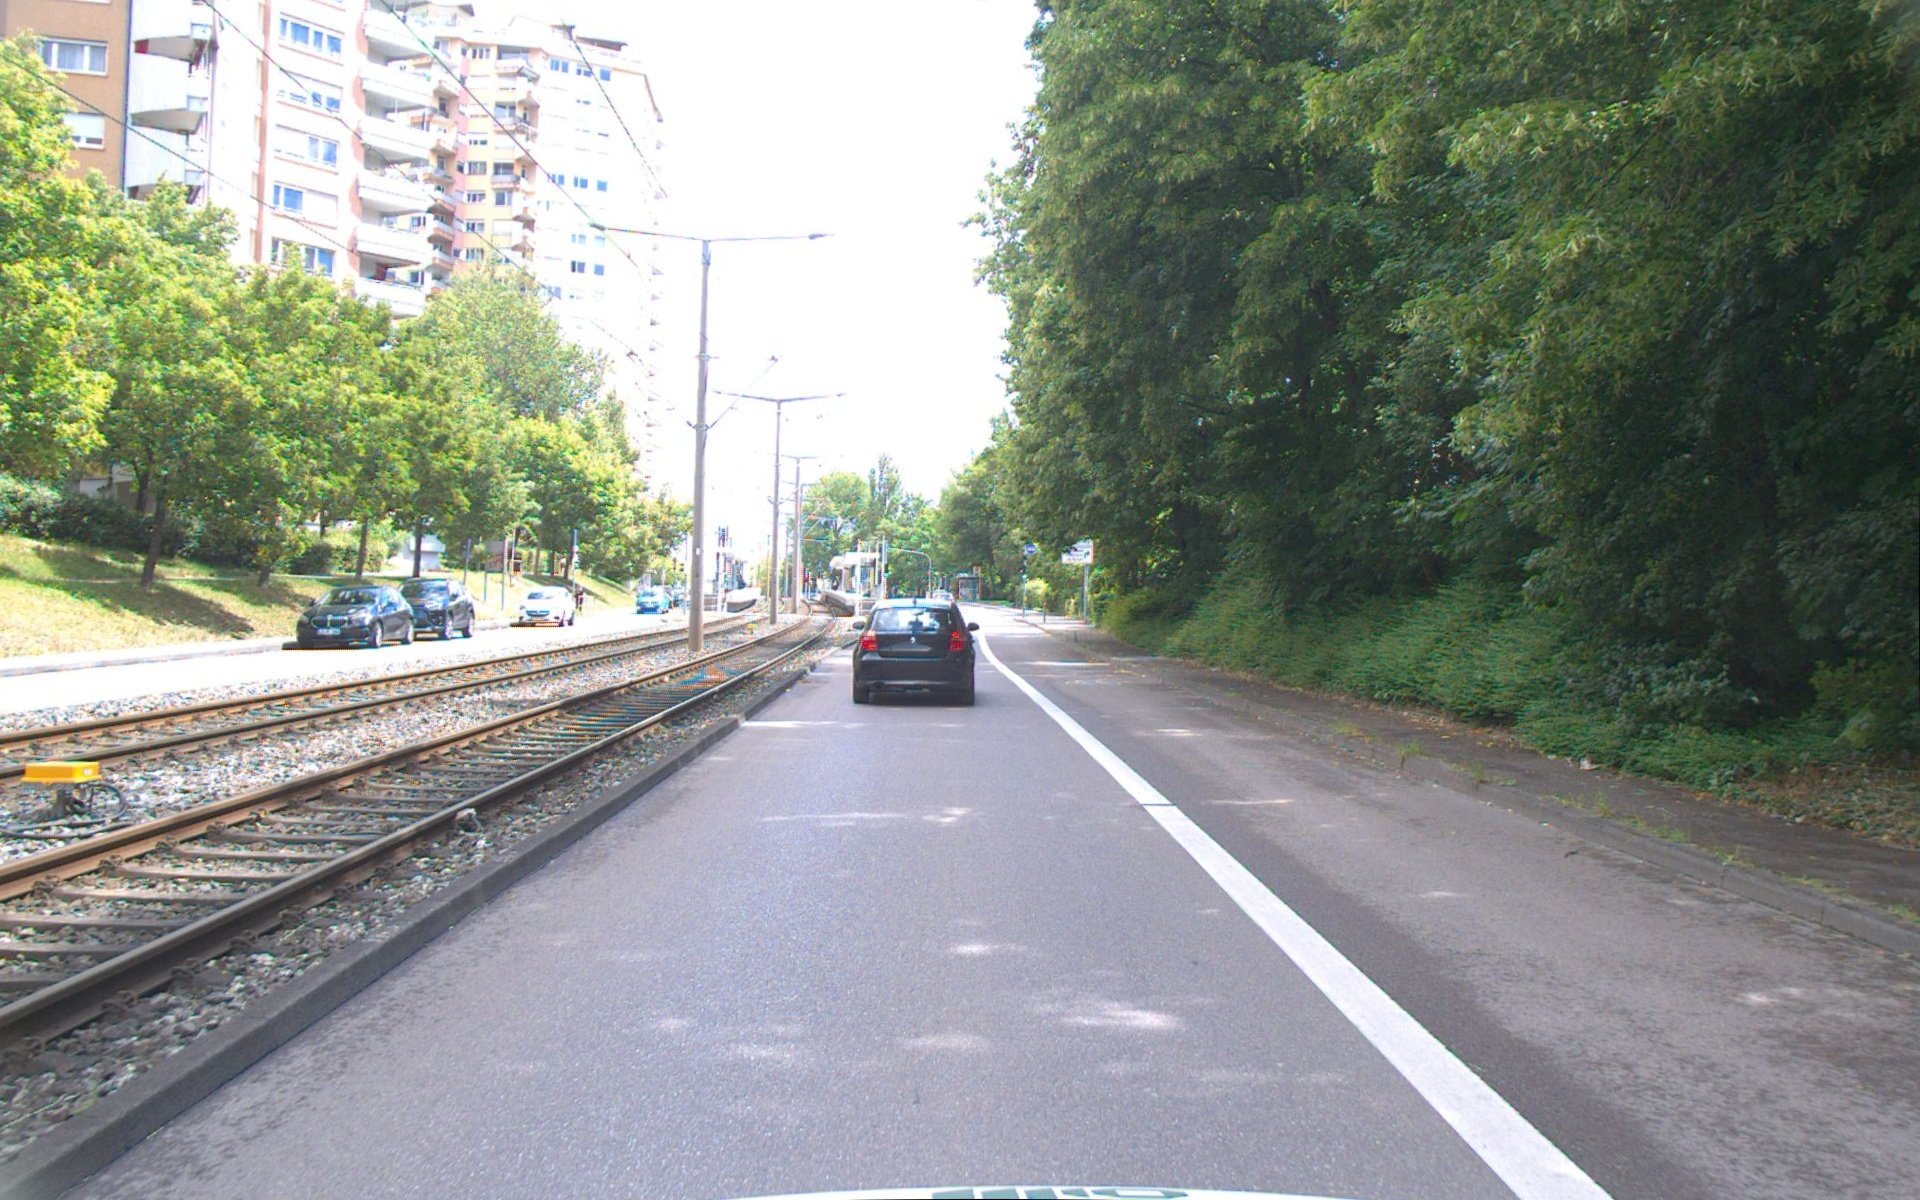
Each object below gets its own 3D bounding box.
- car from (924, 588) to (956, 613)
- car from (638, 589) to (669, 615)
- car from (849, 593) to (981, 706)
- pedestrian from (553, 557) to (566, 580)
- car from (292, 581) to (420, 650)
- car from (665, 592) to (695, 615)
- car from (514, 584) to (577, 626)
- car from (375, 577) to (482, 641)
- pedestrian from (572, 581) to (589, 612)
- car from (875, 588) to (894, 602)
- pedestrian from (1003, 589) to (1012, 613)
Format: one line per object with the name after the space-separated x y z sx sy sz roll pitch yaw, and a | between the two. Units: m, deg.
-1.231 0.024 101.568 1.746 1.485 3.918 1 0 -4 | car
-17.721 0.096 95.626 1.685 1.467 3.931 1 0 -12 | car
-0.676 0.642 23.867 1.745 1.485 3.919 0 0 -3 | car
-27.719 -2.154 114.362 0.620 1.561 0.635 0 0 17 | pedestrian
-14.273 0.340 39.320 1.739 1.524 3.995 1 0 -3 | car
-19.737 0.211 116.681 1.682 1.591 3.694 1 0 -5 | car
-15.730 0.172 62.957 1.747 1.559 4.239 0 0 -6 | car
-14.513 0.240 45.403 1.739 1.658 4.379 0 0 -3 | car
-19.194 -0.156 83.574 0.756 1.561 0.713 0 0 -20 | pedestrian
-8.434 -0.559 184.106 1.873 1.485 3.997 1 0 -6 | car
4.027 0.101 141.083 0.725 2.049 0.681 1 0 0 | pedestrian
